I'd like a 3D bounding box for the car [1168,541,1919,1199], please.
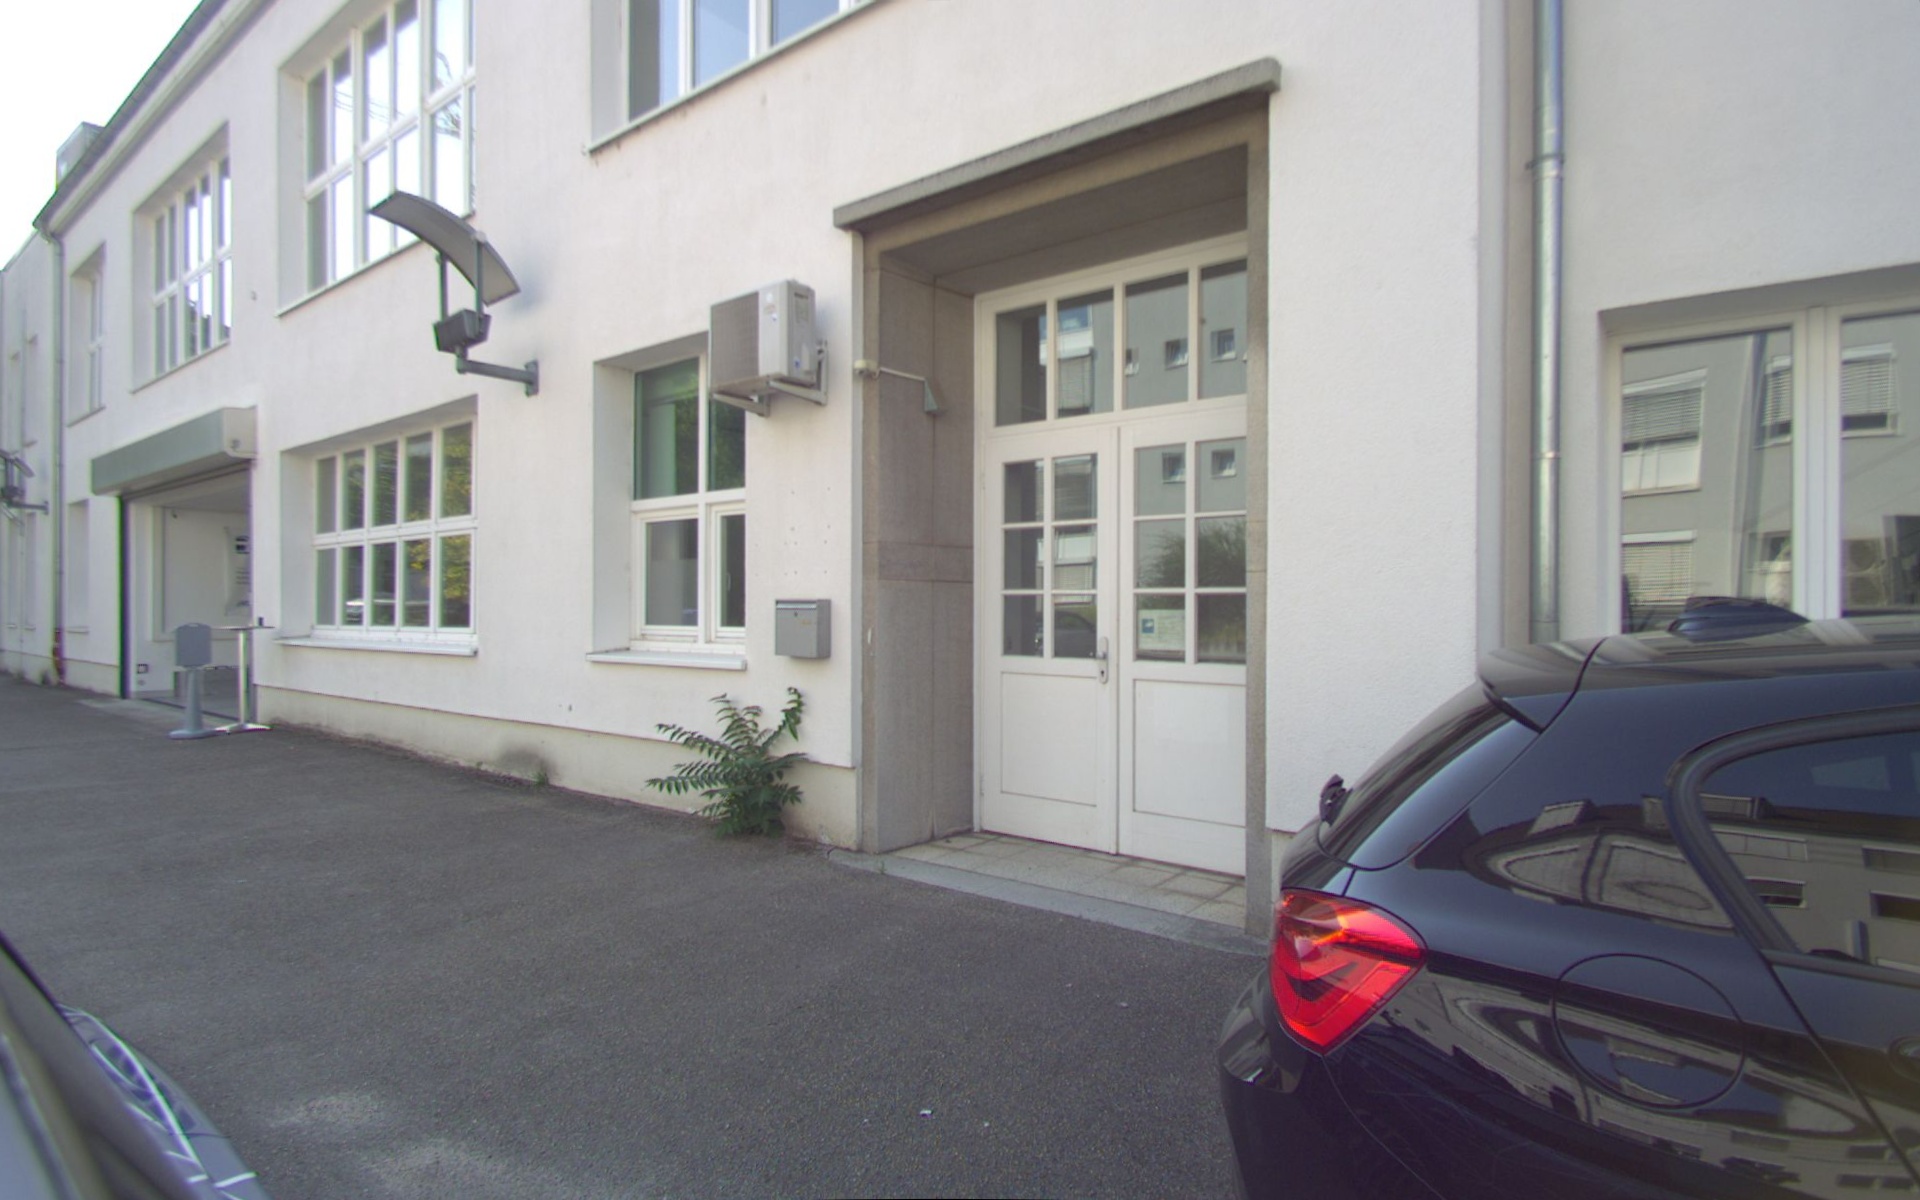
[{"bbox_3d":[2.492,0.642,1.003,4.128,1.439,1.777,-1,0,36],"label":"car"}]
